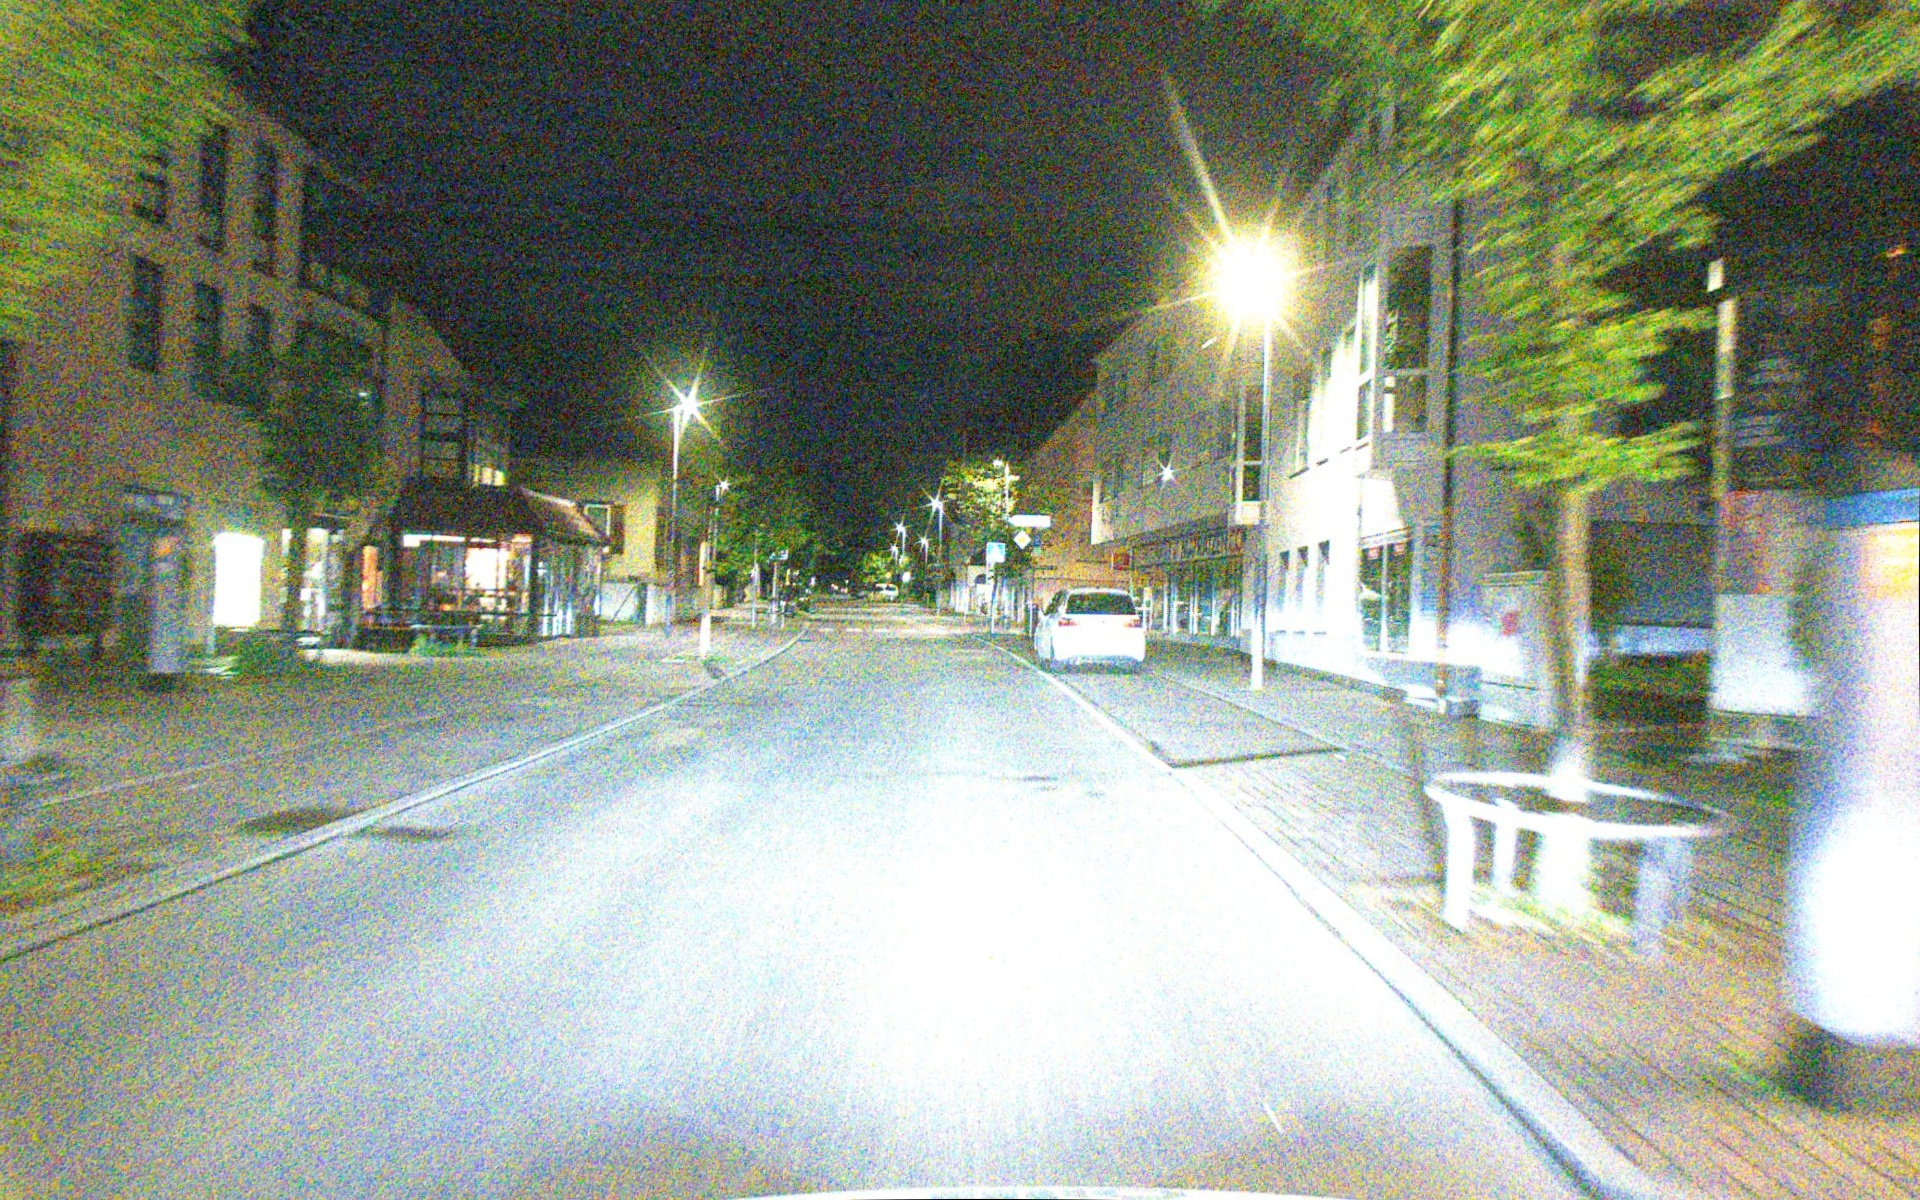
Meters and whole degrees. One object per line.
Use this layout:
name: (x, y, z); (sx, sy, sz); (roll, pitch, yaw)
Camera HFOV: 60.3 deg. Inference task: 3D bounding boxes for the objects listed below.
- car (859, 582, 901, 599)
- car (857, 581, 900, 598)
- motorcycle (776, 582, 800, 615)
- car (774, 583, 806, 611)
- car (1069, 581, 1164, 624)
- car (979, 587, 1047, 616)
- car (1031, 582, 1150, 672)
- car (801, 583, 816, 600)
car: (-9.874, -1.214, 203.697); (5.083, 2.049, 2.099); (0, 0, -7)
car: (-9.863, -1.221, 200.622); (5.083, 2.049, 2.099); (0, 0, -7)
motorcycle: (-7.861, -0.077, 75.791); (0.730, 1.477, 2.196); (1, 0, 3)
car: (-9.751, -0.162, 95.187); (1.655, 1.537, 4.275); (2, 0, -5)
car: (6.160, 0.108, 65.341); (3.438, 1.551, 1.818); (-2, 0, -6)
car: (2.938, 0.093, 92.593); (3.637, 1.499, 1.729); (2, 0, -3)
car: (2.438, 0.470, 31.819); (1.708, 1.596, 4.205); (1, 0, -4)
car: (-20.428, -1.142, 222.897); (1.790, 2.021, 4.458); (3, -3, -7)
